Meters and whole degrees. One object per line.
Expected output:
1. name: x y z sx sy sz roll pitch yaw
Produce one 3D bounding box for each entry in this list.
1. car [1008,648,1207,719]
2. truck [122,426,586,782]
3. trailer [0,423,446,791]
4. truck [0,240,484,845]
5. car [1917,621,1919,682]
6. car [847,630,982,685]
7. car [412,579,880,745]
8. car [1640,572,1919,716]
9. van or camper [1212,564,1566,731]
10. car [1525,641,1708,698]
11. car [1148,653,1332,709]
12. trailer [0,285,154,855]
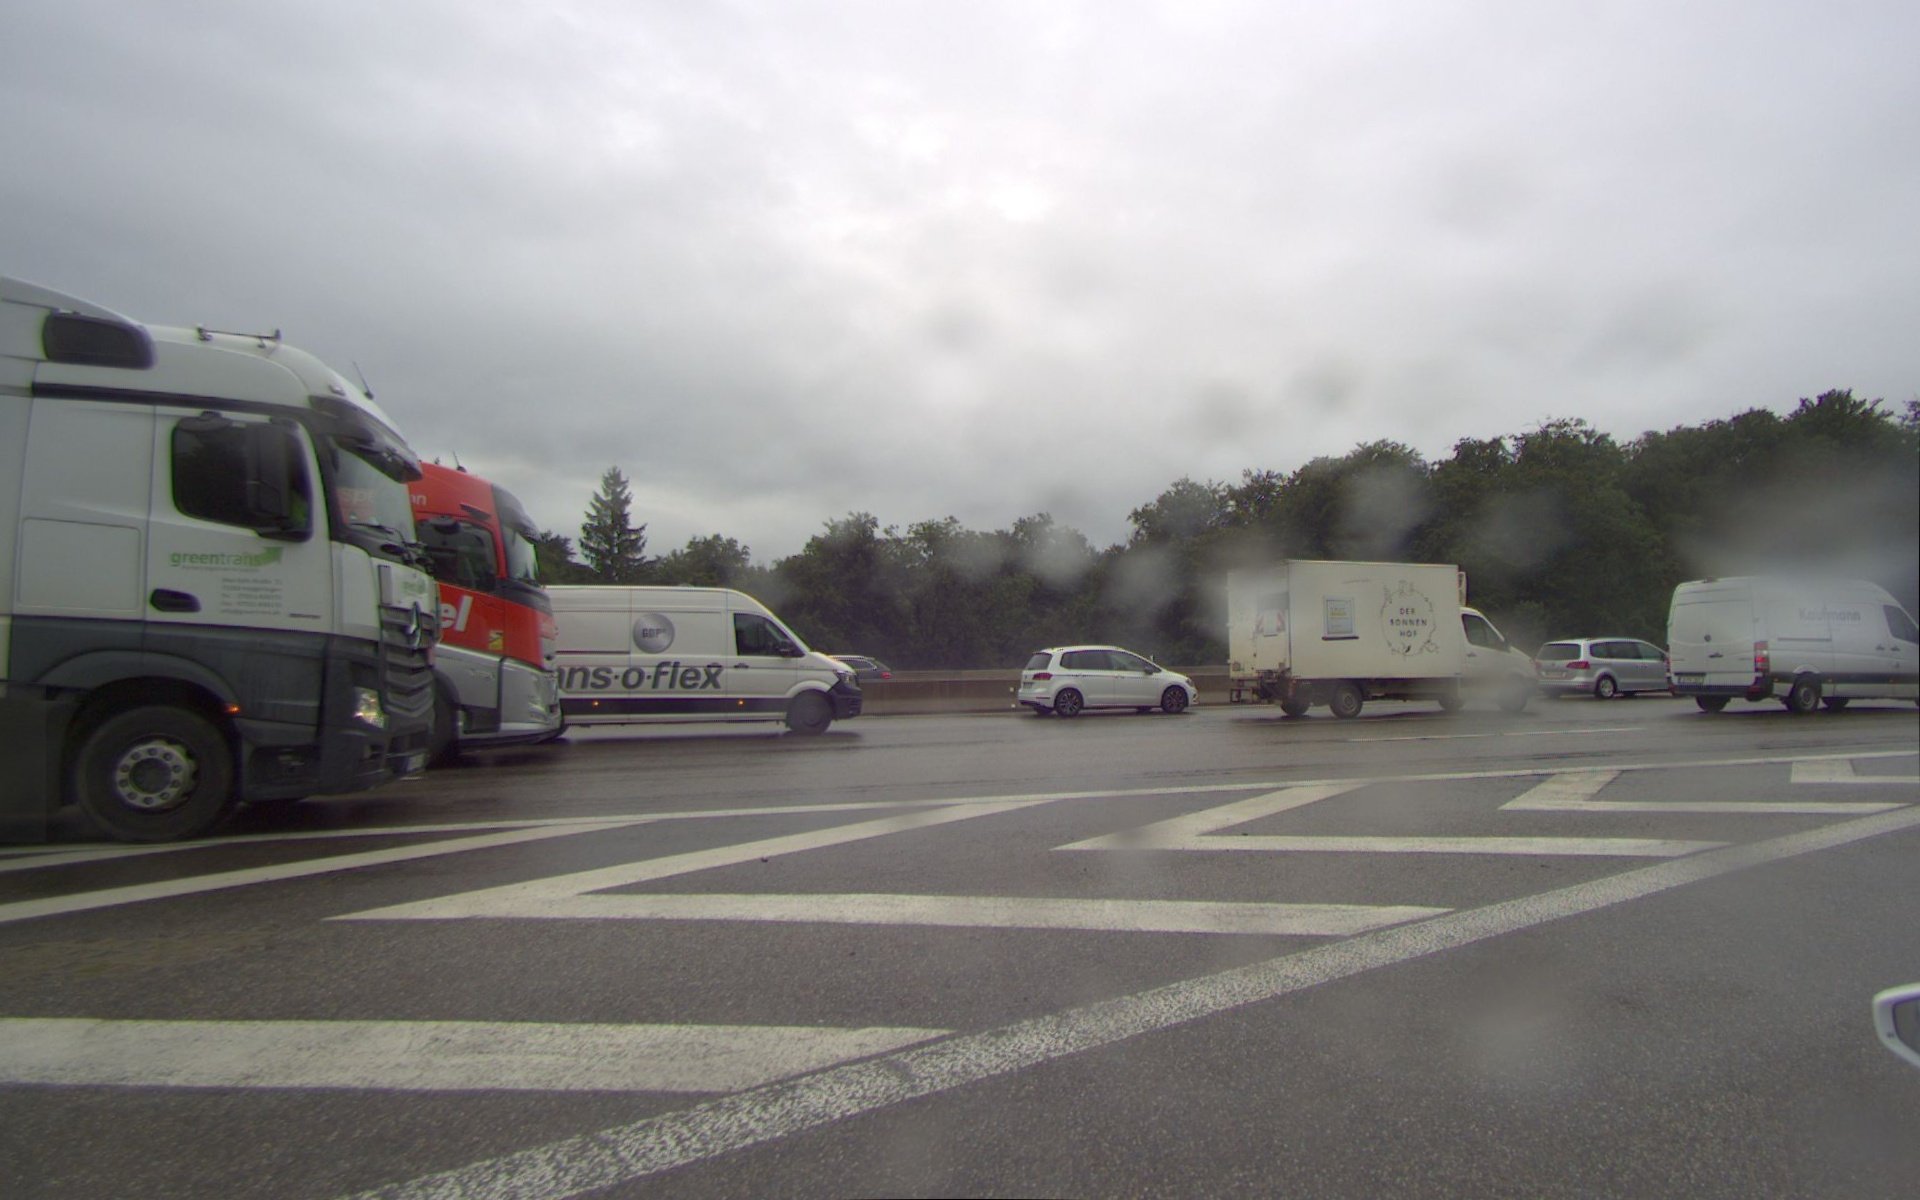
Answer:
1. car: 3.446 1.921 23.584 4.342 1.542 1.616 1 -3 -16
2. truck: -7.352 0.120 12.962 4.514 3.914 2.627 0 -3 -17
3. trailer: -13.416 0.117 11.077 13.454 3.914 2.627 0 -3 -17
4. truck: -7.768 -0.352 8.047 6.607 4.152 2.920 1 -3 -15
5. car: 34.678 1.815 33.827 3.935 2.040 1.797 2 0 -17
6. car: -1.524 1.889 33.209 4.195 1.728 1.776 1 -3 -16
7. car: -5.148 1.033 17.387 7.244 2.520 2.149 1 -3 -16
8. car: 17.104 0.893 20.441 5.748 2.664 2.216 1 -3 -17
9. van or camper: 9.234 1.021 21.747 7.016 3.245 2.579 1 -3 -17
10. car: 18.661 1.941 28.589 4.554 1.542 1.866 1 -3 -17
11. car: 7.796 2.215 28.068 4.754 1.443 1.745 1 -3 -16
12. trailer: -13.811 -0.284 6.329 13.408 4.260 2.920 1 -3 -15
